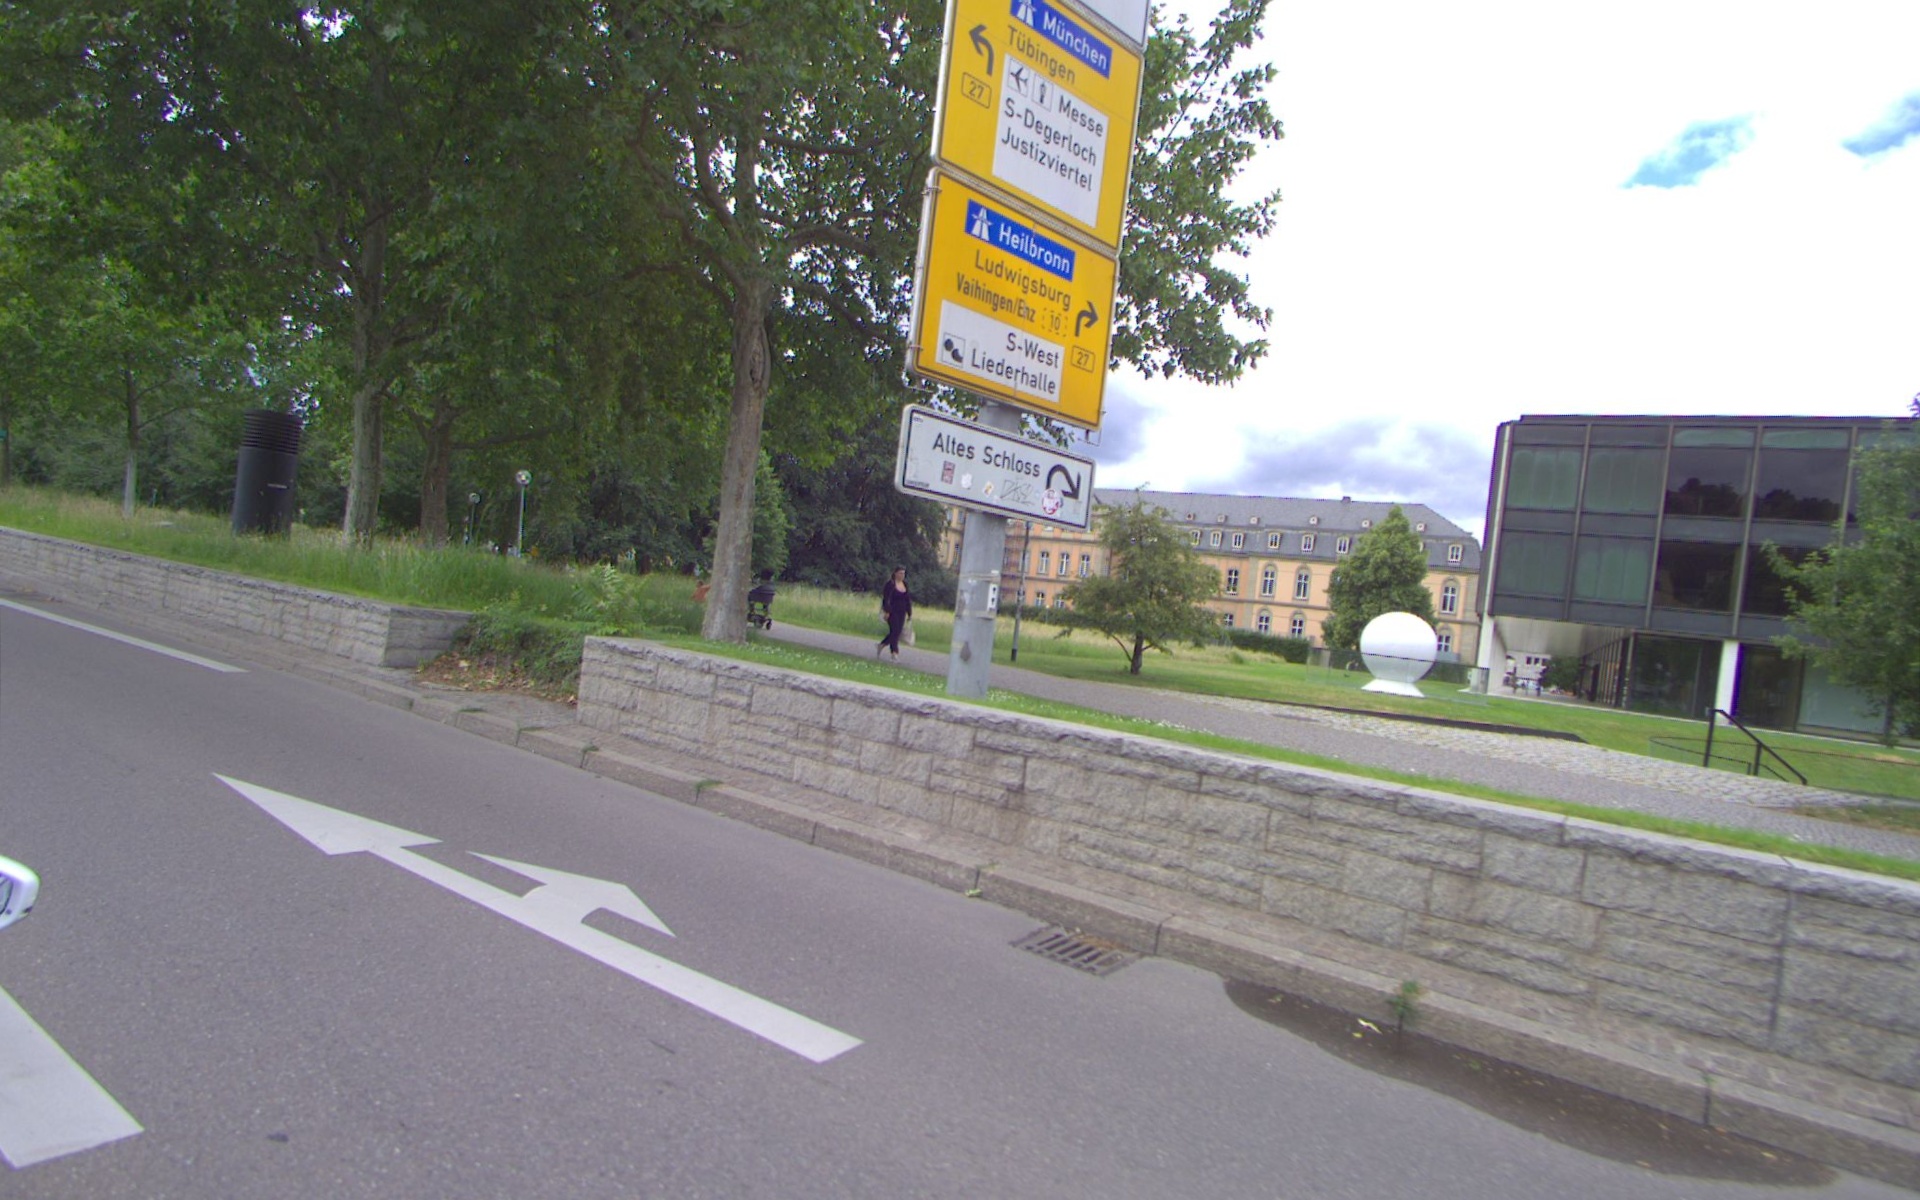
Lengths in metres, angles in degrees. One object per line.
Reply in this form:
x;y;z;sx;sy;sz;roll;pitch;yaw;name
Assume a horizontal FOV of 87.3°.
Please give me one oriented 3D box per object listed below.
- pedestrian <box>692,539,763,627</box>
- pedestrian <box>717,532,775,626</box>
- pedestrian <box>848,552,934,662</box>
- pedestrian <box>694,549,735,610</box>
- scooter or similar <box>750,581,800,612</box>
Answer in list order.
-5.413;-0.390;23.461;1.014;1.857;0.997;6;-3;37;pedestrian
-4.930;-0.475;23.143;0.917;2.036;0.571;6;-2;32;pedestrian
-1.198;0.129;17.649;0.953;1.752;0.898;7;-2;31;pedestrian
-5.763;-0.472;23.636;0.533;1.339;0.583;5;-3;31;pedestrian
-4.154;-0.079;22.592;0.882;0.558;0.619;6;-3;32;scooter or similar
